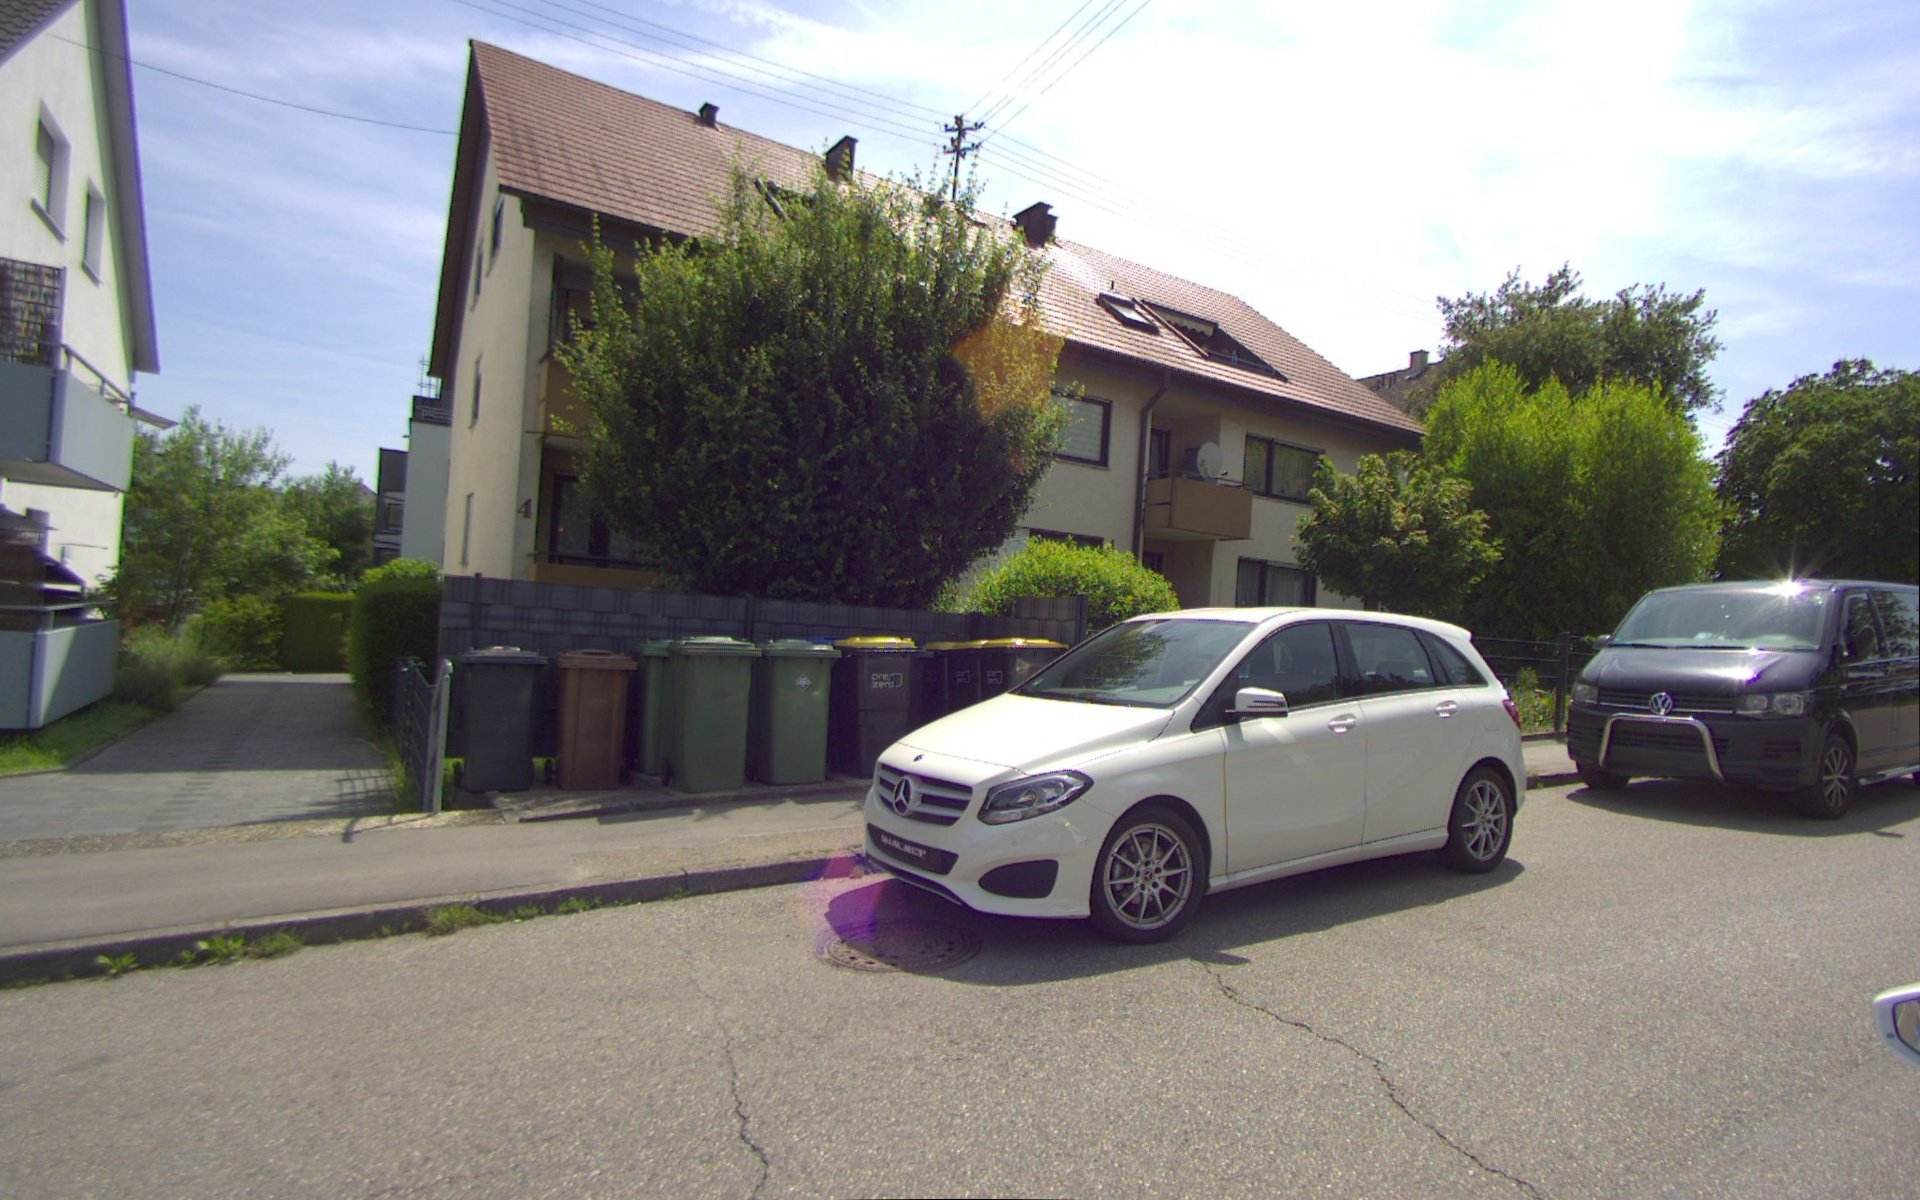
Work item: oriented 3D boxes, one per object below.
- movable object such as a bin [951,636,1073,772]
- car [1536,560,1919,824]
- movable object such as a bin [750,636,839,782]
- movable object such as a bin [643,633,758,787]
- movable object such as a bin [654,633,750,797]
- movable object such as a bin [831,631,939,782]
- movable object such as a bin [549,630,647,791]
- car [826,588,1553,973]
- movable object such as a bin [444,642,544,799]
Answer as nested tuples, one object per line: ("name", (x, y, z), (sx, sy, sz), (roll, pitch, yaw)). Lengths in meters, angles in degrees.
("movable object such as a bin", (0.439, 0.874, 8.800), (0.687, 1.084, 0.895), (1, -1, -30))
("car", (7.693, 0.741, 9.511), (4.817, 1.945, 1.886), (1, -2, -33))
("movable object such as a bin", (-1.254, 0.804, 7.573), (0.552, 1.057, 0.455), (2, -3, -23))
("movable object such as a bin", (-2.128, 0.872, 8.215), (0.828, 1.193, 0.475), (1, -1, -25))
("movable object such as a bin", (-1.861, 0.807, 7.235), (0.523, 1.119, 0.514), (2, -3, -31))
("movable object such as a bin", (-0.589, 0.809, 7.826), (0.700, 1.119, 0.496), (2, -3, -23))
("movable object such as a bin", (-2.860, 0.844, 7.922), (0.665, 1.193, 0.545), (1, -1, -25))
("car", (1.499, 0.772, 5.991), (4.196, 1.570, 1.801), (1, 0, -32))
("movable object such as a bin", (-3.505, 0.882, 7.605), (0.641, 1.111, 0.601), (1, -1, -23))
